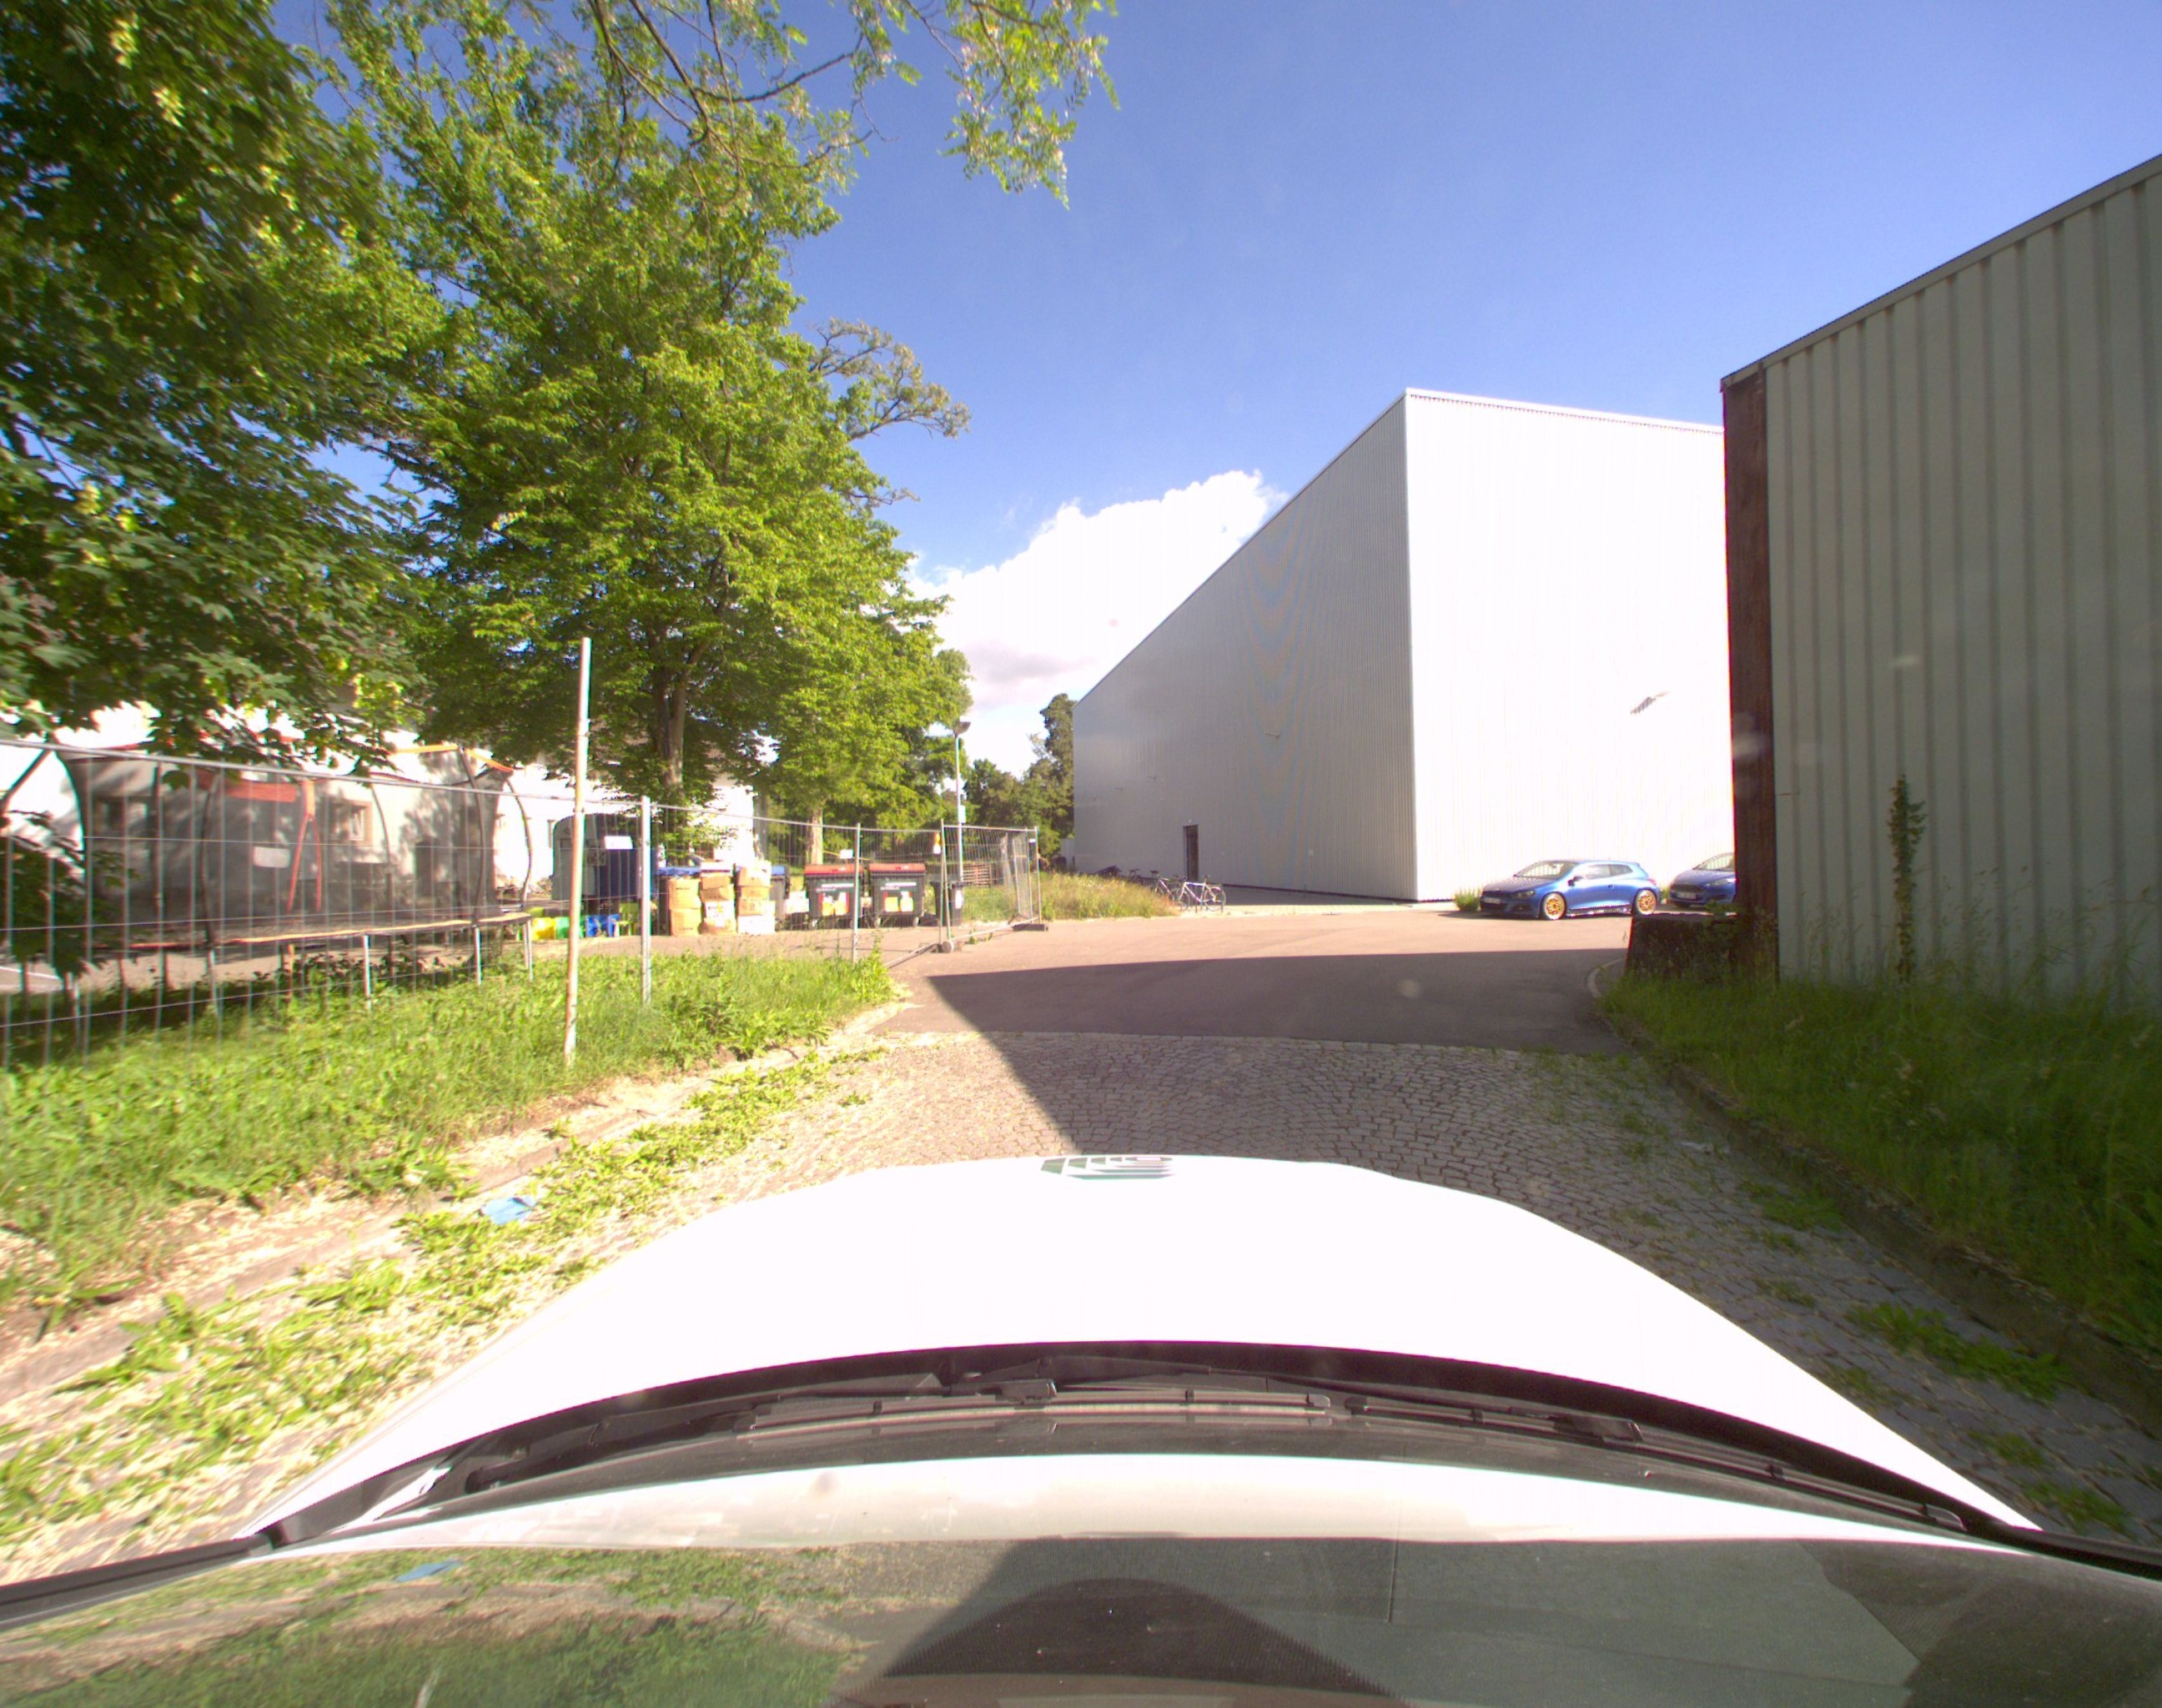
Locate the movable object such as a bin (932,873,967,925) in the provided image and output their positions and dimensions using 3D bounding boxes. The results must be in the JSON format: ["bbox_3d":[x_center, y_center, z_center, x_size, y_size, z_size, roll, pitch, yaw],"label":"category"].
[{"bbox_3d":[-2.959,1.003,18.425,0.736,1.097,0.817,-1,0,-8],"label":"movable object such as a bin"}]

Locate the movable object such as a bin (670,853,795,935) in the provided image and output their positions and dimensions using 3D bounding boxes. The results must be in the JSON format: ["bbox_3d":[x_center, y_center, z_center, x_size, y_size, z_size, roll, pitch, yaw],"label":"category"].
[{"bbox_3d":[-7.315,0.804,17.255,2.294,1.591,1.167,-1,0,-18],"label":"movable object such as a bin"}]

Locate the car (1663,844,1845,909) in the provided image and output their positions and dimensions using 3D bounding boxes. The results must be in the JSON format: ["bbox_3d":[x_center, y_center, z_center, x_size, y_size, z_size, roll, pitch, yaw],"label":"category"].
[{"bbox_3d":[16.803,0.512,20.376,3.757,1.447,1.617,-1,1,-14],"label":"car"}]

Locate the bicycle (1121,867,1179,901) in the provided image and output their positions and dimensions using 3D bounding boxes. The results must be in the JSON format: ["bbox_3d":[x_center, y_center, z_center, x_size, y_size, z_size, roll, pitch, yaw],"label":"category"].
[{"bbox_3d":[2.347,1.020,27.791,1.890,1.095,0.523,-1,-1,-14],"label":"bicycle"}]

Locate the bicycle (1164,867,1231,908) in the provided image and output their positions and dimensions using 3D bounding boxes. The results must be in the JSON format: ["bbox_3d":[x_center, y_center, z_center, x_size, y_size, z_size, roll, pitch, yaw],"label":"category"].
[{"bbox_3d":[3.257,0.925,22.768,1.804,1.062,0.456,-1,0,-17],"label":"bicycle"}]

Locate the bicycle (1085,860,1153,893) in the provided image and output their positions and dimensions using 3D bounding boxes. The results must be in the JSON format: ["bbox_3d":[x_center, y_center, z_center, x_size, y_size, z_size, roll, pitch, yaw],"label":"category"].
[{"bbox_3d":[1.536,0.921,33.350,2.628,1.266,1.137,-1,0,-8],"label":"bicycle"}]

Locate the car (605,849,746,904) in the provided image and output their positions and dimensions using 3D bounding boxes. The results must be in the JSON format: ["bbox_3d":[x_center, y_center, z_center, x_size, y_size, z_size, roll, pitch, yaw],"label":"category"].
[{"bbox_3d":[-16.233,0.875,32.851,4.720,1.902,1.989,-2,-1,-17],"label":"car"}]

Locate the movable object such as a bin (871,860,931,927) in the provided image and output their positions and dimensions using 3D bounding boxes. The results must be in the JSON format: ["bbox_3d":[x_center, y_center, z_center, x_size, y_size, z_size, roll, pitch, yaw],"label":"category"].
[{"bbox_3d":[-4.050,0.861,18.323,1.248,1.444,0.698,-1,0,-18],"label":"movable object such as a bin"}]

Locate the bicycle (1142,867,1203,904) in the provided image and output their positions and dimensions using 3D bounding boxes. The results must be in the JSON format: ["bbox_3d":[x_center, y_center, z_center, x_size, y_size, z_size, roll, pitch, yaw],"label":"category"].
[{"bbox_3d":[2.835,0.977,25.296,1.792,1.082,0.523,-1,0,-11],"label":"bicycle"}]

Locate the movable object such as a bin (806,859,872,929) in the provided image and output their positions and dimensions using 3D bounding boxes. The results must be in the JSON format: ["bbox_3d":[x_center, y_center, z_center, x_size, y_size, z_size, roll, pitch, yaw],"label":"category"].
[{"bbox_3d":[-5.351,0.860,17.995,1.341,1.484,0.802,-1,0,-19],"label":"movable object such as a bin"}]

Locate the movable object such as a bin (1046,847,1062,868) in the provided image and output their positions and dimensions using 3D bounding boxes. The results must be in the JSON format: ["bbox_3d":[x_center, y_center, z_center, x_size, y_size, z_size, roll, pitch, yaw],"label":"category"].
[{"bbox_3d":[-2.606,0.360,79.406,1.417,2.013,1.122,-1,0,-8],"label":"movable object such as a bin"}]

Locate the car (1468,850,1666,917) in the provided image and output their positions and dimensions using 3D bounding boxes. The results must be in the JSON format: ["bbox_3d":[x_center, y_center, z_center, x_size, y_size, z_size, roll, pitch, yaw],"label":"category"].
[{"bbox_3d":[11.328,0.640,19.043,3.945,1.350,1.666,-1,1,-13],"label":"car"}]
